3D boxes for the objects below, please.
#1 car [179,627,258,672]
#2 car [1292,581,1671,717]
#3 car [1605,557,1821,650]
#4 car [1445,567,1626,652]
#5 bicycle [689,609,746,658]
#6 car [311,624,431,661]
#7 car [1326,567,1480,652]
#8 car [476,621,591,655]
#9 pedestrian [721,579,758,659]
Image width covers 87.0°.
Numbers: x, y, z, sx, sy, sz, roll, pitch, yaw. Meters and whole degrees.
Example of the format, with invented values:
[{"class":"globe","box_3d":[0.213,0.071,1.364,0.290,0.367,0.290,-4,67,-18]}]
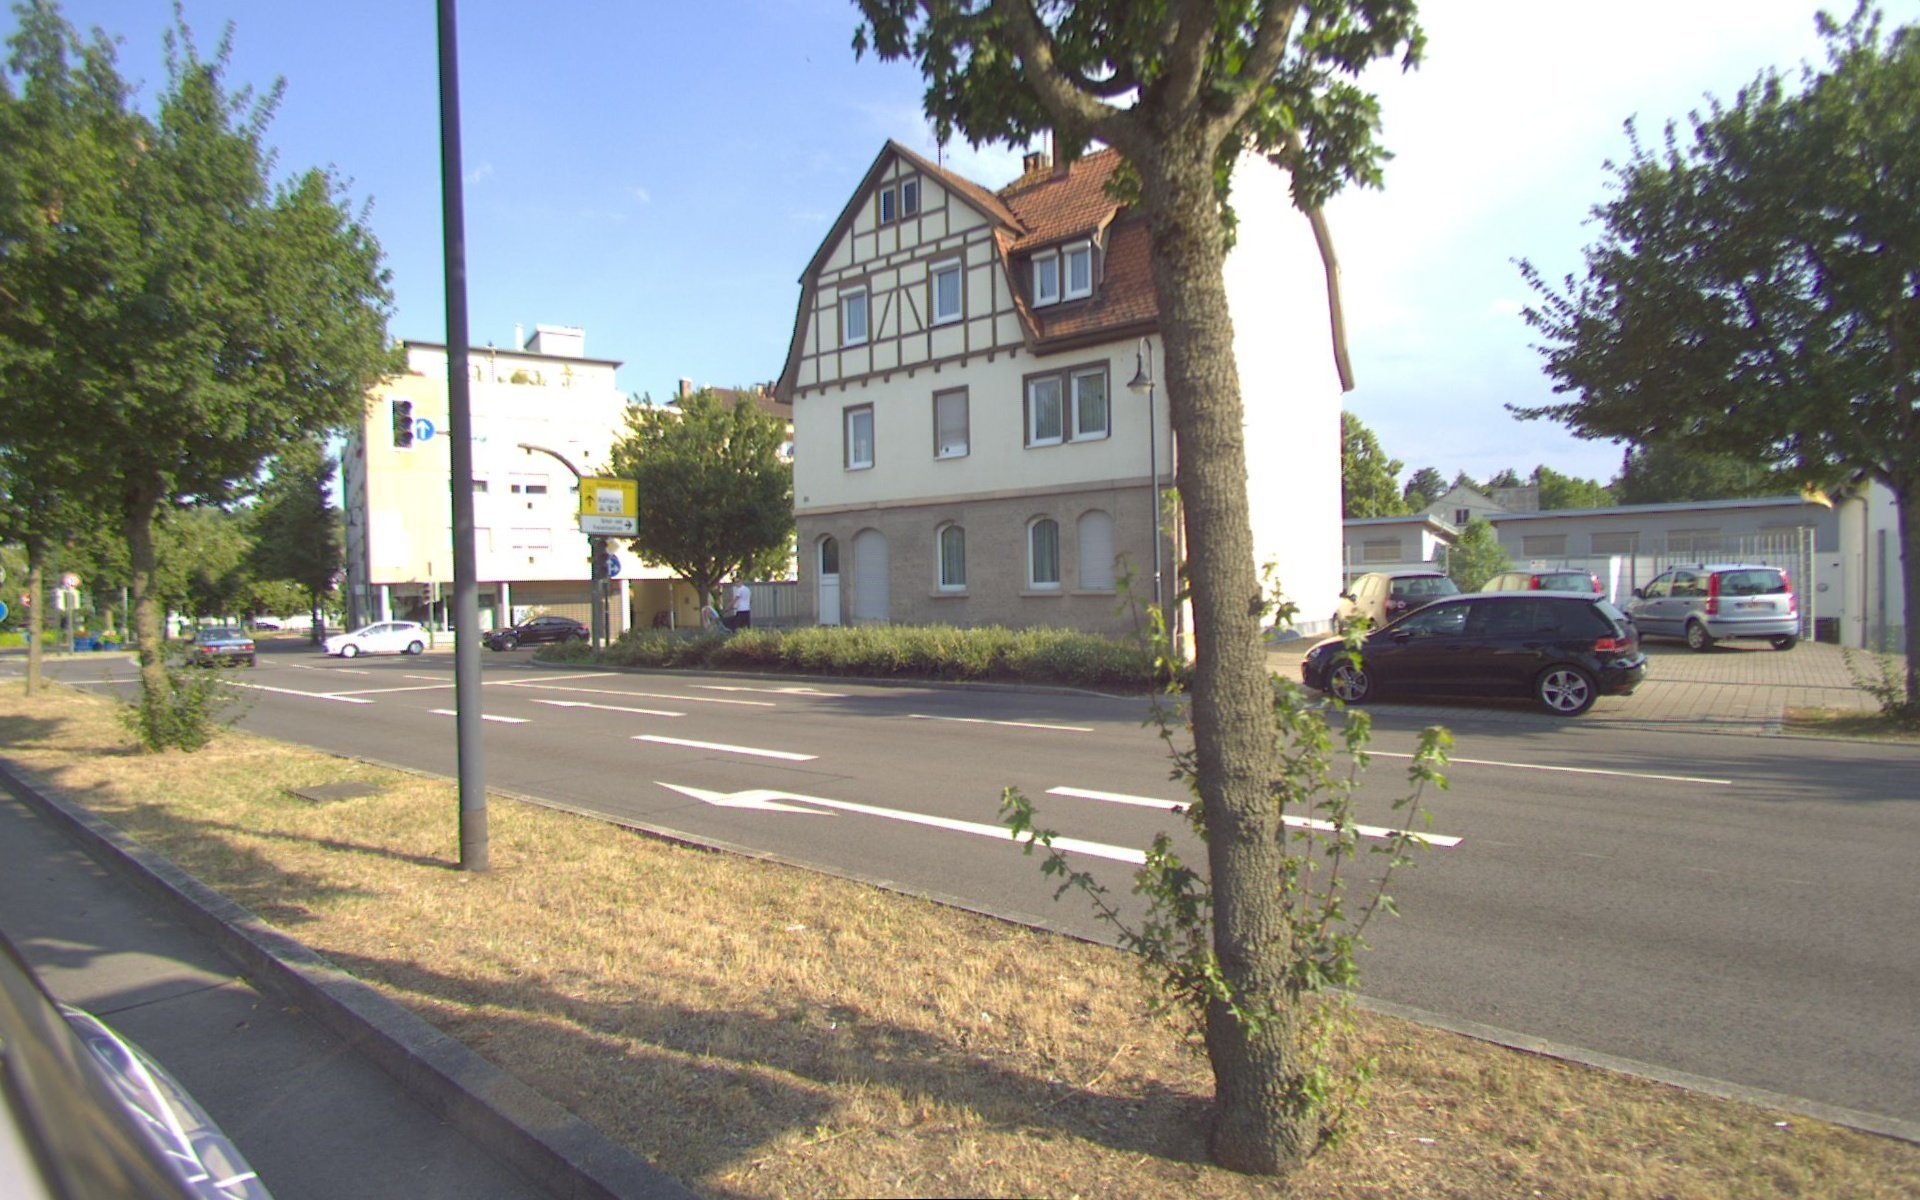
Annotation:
[{"class":"car","box_3d":[-25.427,1.653,34.659,1.740,1.364,4.167,-1,0,-42]},{"class":"car","box_3d":[6.847,0.577,13.523,4.192,1.454,1.816,-1,3,40]},{"class":"car","box_3d":[14.039,0.068,19.175,1.750,1.564,3.984,-1,0,12]},{"class":"car","box_3d":[11.738,0.179,20.968,1.746,1.564,3.993,-1,0,6]},{"class":"bicycle","box_3d":[-6.270,0.856,26.121,1.514,1.231,0.672,-1,0,42]},{"class":"car","box_3d":[-24.759,1.759,42.593,4.070,1.364,1.769,-1,0,-44]},{"class":"car","box_3d":[9.054,0.131,21.045,1.746,1.563,3.993,-2,1,6]},{"class":"car","box_3d":[-19.664,1.720,46.785,4.595,1.364,1.770,-1,0,-42]},{"class":"pedestrian","box_3d":[-5.554,0.469,25.483,0.588,1.997,0.690,-1,-1,42]}]
